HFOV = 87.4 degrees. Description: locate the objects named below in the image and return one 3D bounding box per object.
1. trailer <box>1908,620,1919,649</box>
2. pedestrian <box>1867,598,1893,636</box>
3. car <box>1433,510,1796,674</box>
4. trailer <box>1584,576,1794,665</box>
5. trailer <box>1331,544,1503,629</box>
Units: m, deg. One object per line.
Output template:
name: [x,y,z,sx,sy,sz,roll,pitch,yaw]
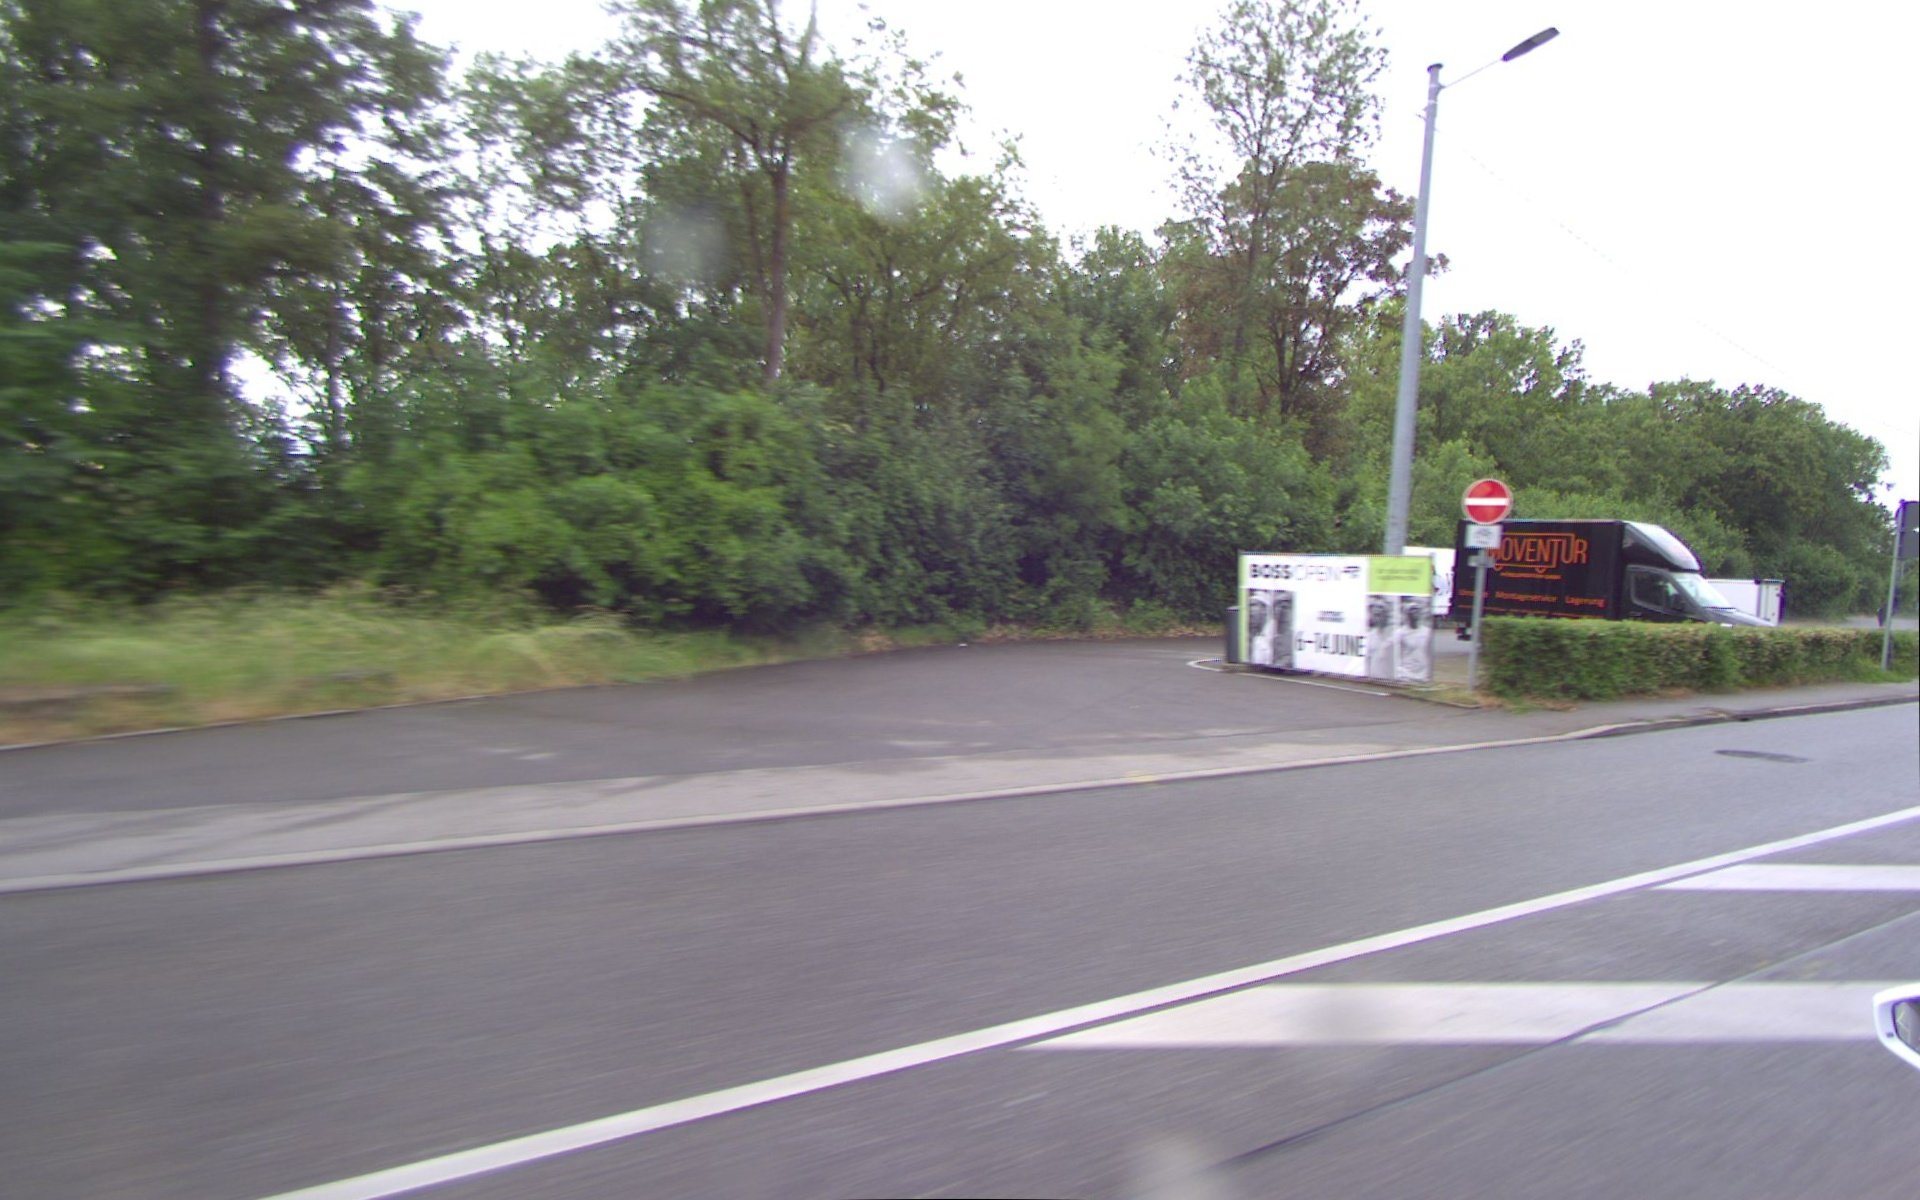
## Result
trailer: [36.116,1.309,36.854,1.323,1.048,1.785,1,2,-41]
pedestrian: [46.253,0.843,50.501,1.127,1.822,0.810,1,2,-41]
car: [14.500,-0.235,22.717,2.726,3.155,6.226,2,1,-37]
trailer: [18.762,0.460,26.016,1.854,2.080,3.962,1,1,-34]
trailer: [17.314,-0.422,37.764,7.905,2.912,2.457,1,1,-38]
